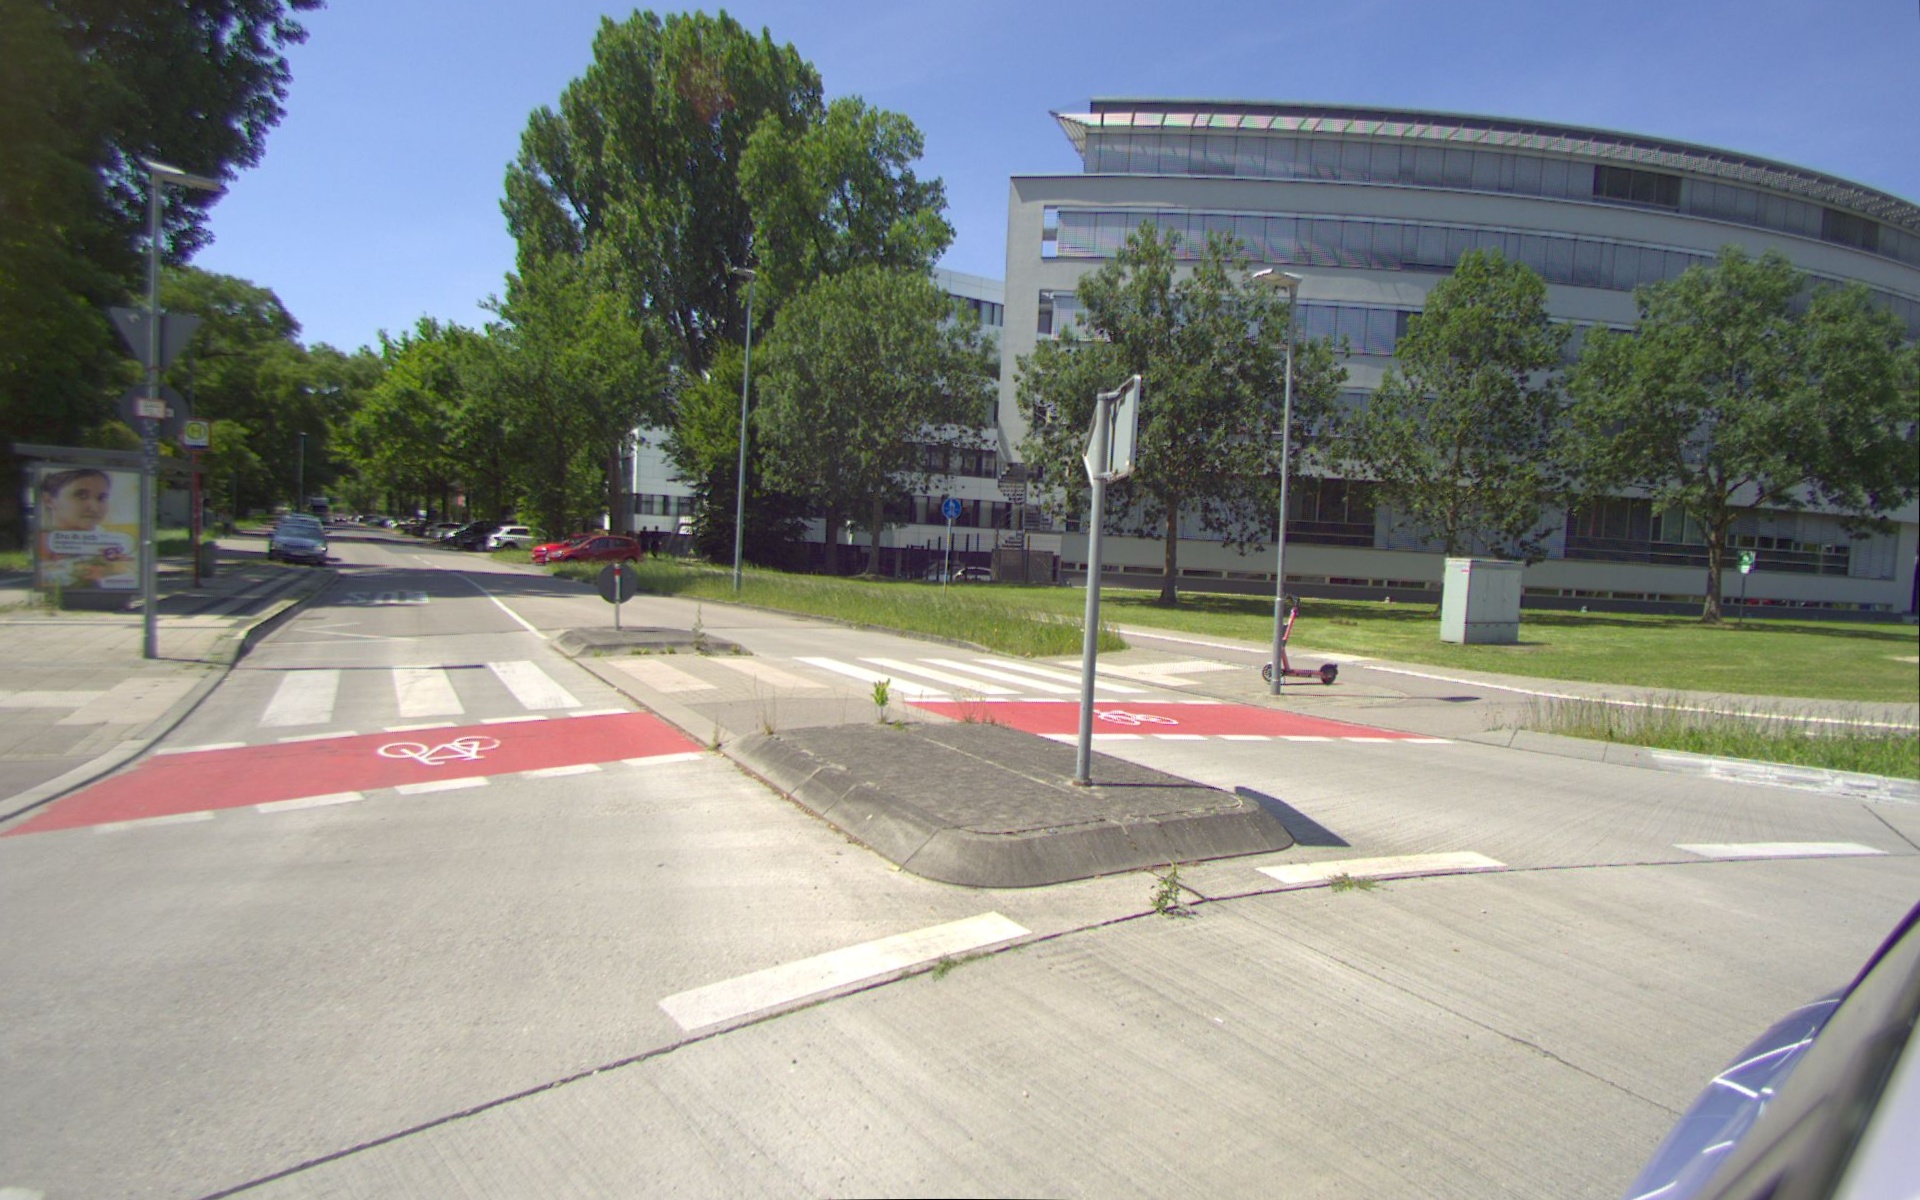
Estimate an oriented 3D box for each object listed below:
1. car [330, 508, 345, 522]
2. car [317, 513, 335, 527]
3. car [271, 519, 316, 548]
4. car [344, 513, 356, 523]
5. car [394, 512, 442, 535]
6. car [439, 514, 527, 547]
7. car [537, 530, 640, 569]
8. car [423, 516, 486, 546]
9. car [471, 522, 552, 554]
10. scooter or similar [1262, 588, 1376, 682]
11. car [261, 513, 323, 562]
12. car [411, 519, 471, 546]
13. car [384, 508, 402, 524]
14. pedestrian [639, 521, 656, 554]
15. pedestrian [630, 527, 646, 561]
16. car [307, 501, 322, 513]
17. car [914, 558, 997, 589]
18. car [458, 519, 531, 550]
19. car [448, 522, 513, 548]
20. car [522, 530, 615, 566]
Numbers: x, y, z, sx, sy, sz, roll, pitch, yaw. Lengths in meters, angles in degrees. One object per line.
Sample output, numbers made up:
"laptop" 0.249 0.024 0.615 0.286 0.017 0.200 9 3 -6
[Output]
"car" -96.787 -13.185 157.322 1.961 2.038 4.004 1 3 -32
"car" -78.578 -9.894 125.511 1.880 1.704 4.005 1 3 -32
"car" -37.372 -3.744 56.792 1.960 1.487 4.005 0 3 -32
"car" -116.424 -15.653 193.194 1.802 1.838 3.750 1 3 -29
"car" -49.174 -6.923 91.856 3.723 1.904 1.648 0 3 -35
"car" -32.604 -4.731 69.193 5.212 2.009 1.761 0 3 -34
"car" -15.495 -2.100 42.269 3.617 1.501 1.869 0 3 -38
"car" -37.347 -5.085 74.768 3.923 2.038 2.002 0 3 -34
"car" -24.193 -3.329 54.621 3.714 1.535 1.814 0 3 -35
"scooter or similar" 4.888 0.477 13.793 1.370 1.216 0.449 2 2 -11
"car" -23.498 -2.197 35.637 1.670 1.504 4.004 4 1 -33
"car" -40.357 -5.261 78.729 3.925 1.895 1.685 0 3 -36
"car" -69.802 -10.315 124.537 1.615 1.904 3.799 0 3 -33
"pedestrian" -15.784 -3.171 51.079 0.642 1.627 0.563 4 3 42
"pedestrian" -16.086 -2.791 50.549 0.485 1.636 0.579 4 3 44
"car" -98.643 -14.241 154.680 1.880 1.704 4.006 1 3 -31
"car" -0.227 -1.459 56.696 4.272 1.588 1.855 0 3 -34
"car" -29.079 -4.082 63.256 3.923 1.726 1.761 0 3 -34
"car" -31.849 -4.316 67.265 3.702 1.588 1.761 0 3 -34
"car" -18.079 -2.404 46.795 3.617 1.501 1.869 0 3 -38
